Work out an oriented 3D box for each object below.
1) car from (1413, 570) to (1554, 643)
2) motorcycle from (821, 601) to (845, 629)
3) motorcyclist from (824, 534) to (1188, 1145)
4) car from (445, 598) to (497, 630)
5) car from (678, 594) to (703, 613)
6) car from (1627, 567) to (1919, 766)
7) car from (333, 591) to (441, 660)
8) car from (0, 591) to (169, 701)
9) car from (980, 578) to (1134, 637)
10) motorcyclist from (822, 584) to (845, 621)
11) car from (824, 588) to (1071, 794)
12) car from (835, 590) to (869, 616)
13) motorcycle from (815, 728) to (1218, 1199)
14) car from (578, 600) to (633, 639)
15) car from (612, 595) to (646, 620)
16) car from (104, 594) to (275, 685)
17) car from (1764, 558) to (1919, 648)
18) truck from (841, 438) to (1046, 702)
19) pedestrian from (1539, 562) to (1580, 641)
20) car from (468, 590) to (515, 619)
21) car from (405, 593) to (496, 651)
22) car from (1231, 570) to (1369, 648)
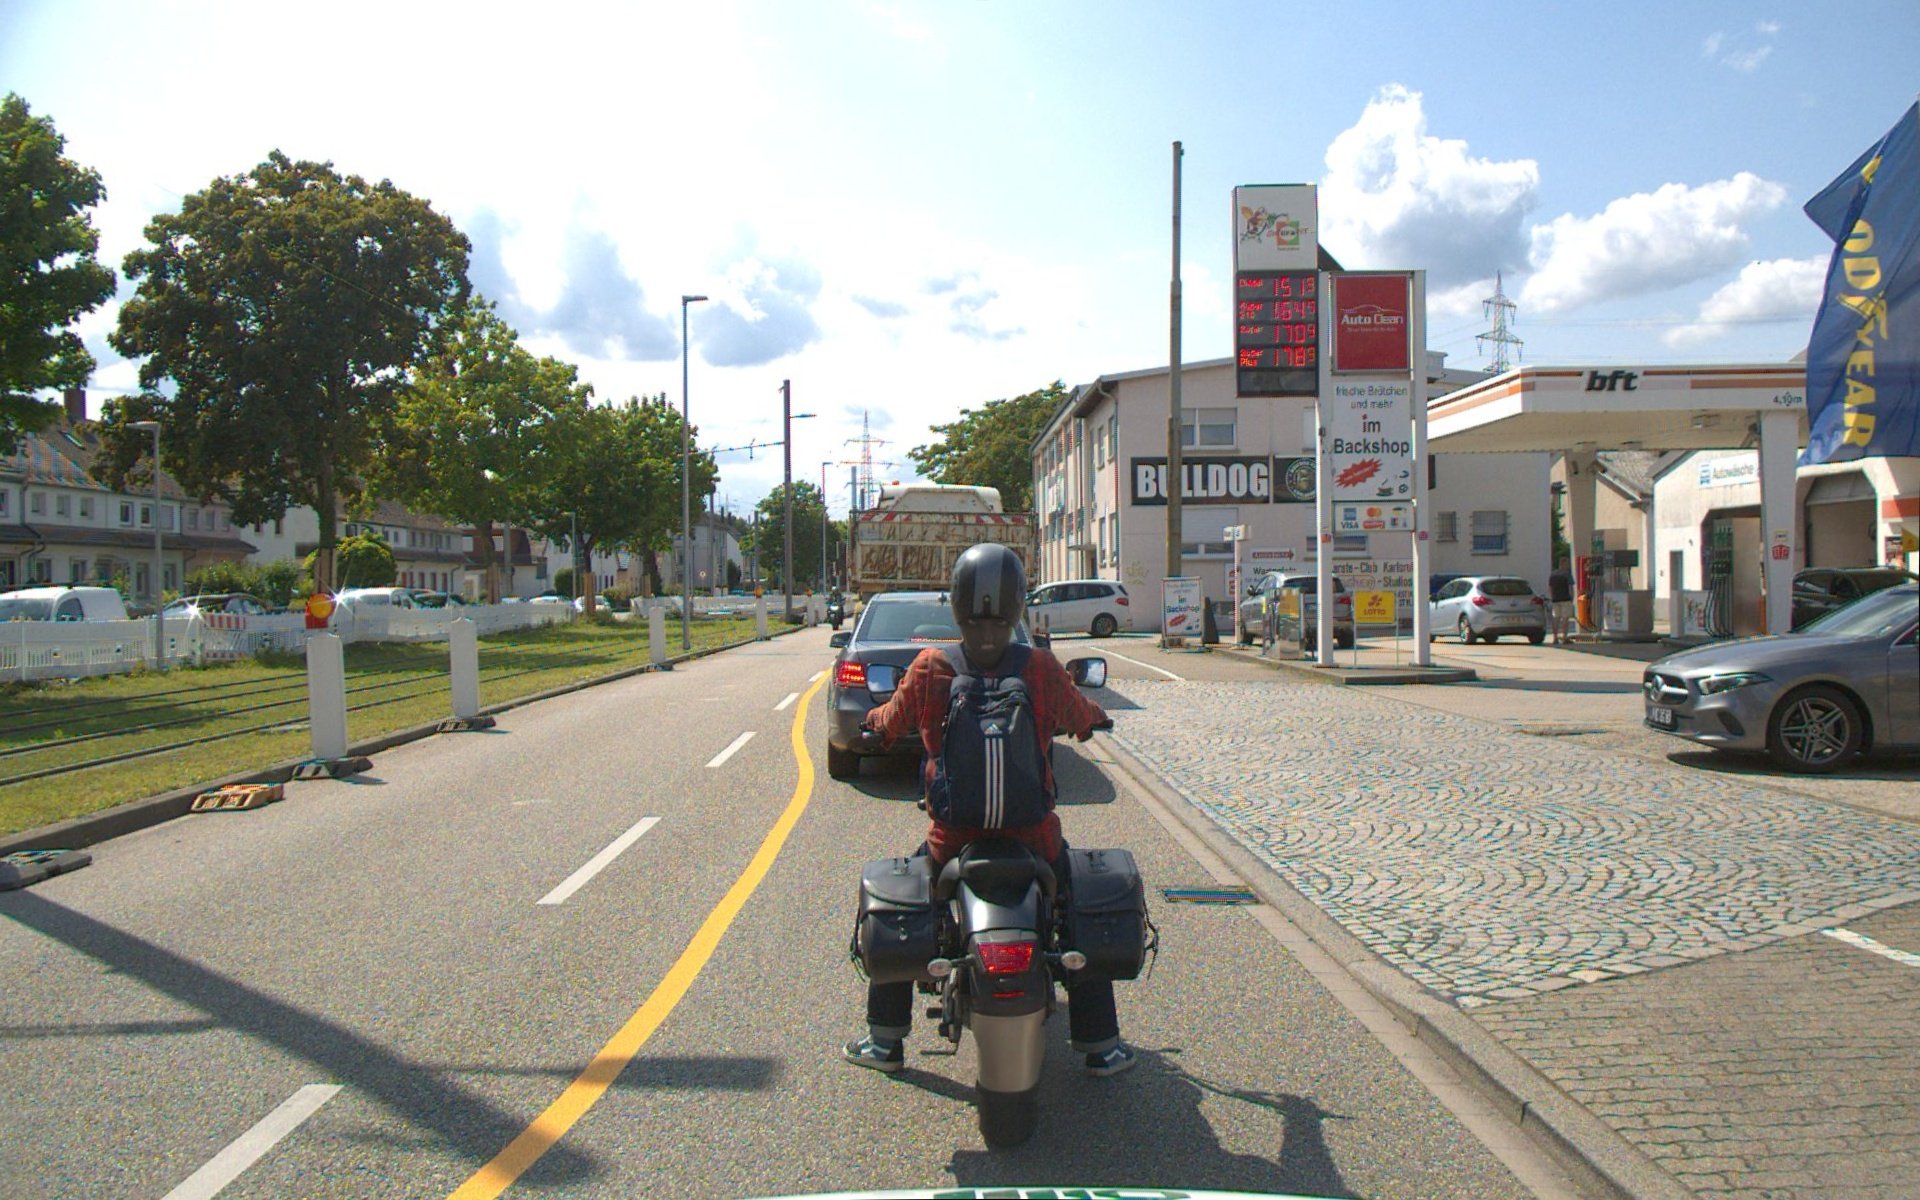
[{"bbox_3d":[11.721,0.119,37.263,1.770,1.529,3.831,-1,0,-3],"label":"car"},{"bbox_3d":[-4.880,0.564,63.647,0.851,1.039,2.243,-1,0,-3],"label":"motorcycle"},{"bbox_3d":[0.118,0.640,5.015,0.959,1.630,1.087,-1,0,-1],"label":"motorcyclist"},{"bbox_3d":[-28.296,0.776,95.834,1.740,1.753,4.127,-1,0,-1],"label":"car"},{"bbox_3d":[-26.070,0.283,160.258,1.740,1.753,4.250,-1,0,-1],"label":"car"},{"bbox_3d":[7.583,0.458,12.799,4.181,1.440,1.675,-1,0,7],"label":"car"},{"bbox_3d":[-16.940,0.712,49.081,1.740,1.900,4.127,-1,0,-1],"label":"car"},{"bbox_3d":[-16.461,0.781,30.387,1.740,1.853,4.363,-1,0,-1],"label":"car"},{"bbox_3d":[2.731,0.198,47.094,4.149,1.570,1.670,-1,0,-7],"label":"car"},{"bbox_3d":[-4.872,0.094,63.576,0.851,1.402,0.800,-1,0,-4],"label":"motorcyclist"},{"bbox_3d":[-0.120,0.655,14.122,1.786,1.478,3.999,1,0,-1],"label":"car"},{"bbox_3d":[-6.404,0.152,98.607,1.786,1.478,4.323,-2,0,-1],"label":"car"},{"bbox_3d":[0.120,0.994,5.321,0.959,0.913,2.653,-1,0,-1],"label":"motorcycle"},{"bbox_3d":[-17.053,0.907,79.684,1.740,1.753,4.127,-1,0,-1],"label":"car"},{"bbox_3d":[-24.959,0.546,124.851,1.740,1.753,4.127,-1,0,-1],"label":"car"},{"bbox_3d":[-16.674,0.809,36.024,1.740,1.805,4.227,-1,0,-1],"label":"car"},{"bbox_3d":[16.617,0.025,30.317,1.770,1.529,3.832,-1,0,-3],"label":"car"},{"bbox_3d":[-0.265,-0.425,25.363,2.585,3.354,8.055,-1,0,-1],"label":"truck"},{"bbox_3d":[12.952,0.030,35.709,0.696,1.685,0.546,-1,0,35],"label":"pedestrian"},{"bbox_3d":[-29.422,0.273,103.952,1.740,1.753,4.127,-1,0,-1],"label":"car"},{"bbox_3d":[-16.972,0.697,55.260,1.740,1.837,4.127,-1,0,-1],"label":"car"},{"bbox_3d":[7.456,0.175,36.628,1.636,1.589,4.236,-1,0,-8],"label":"car"}]
